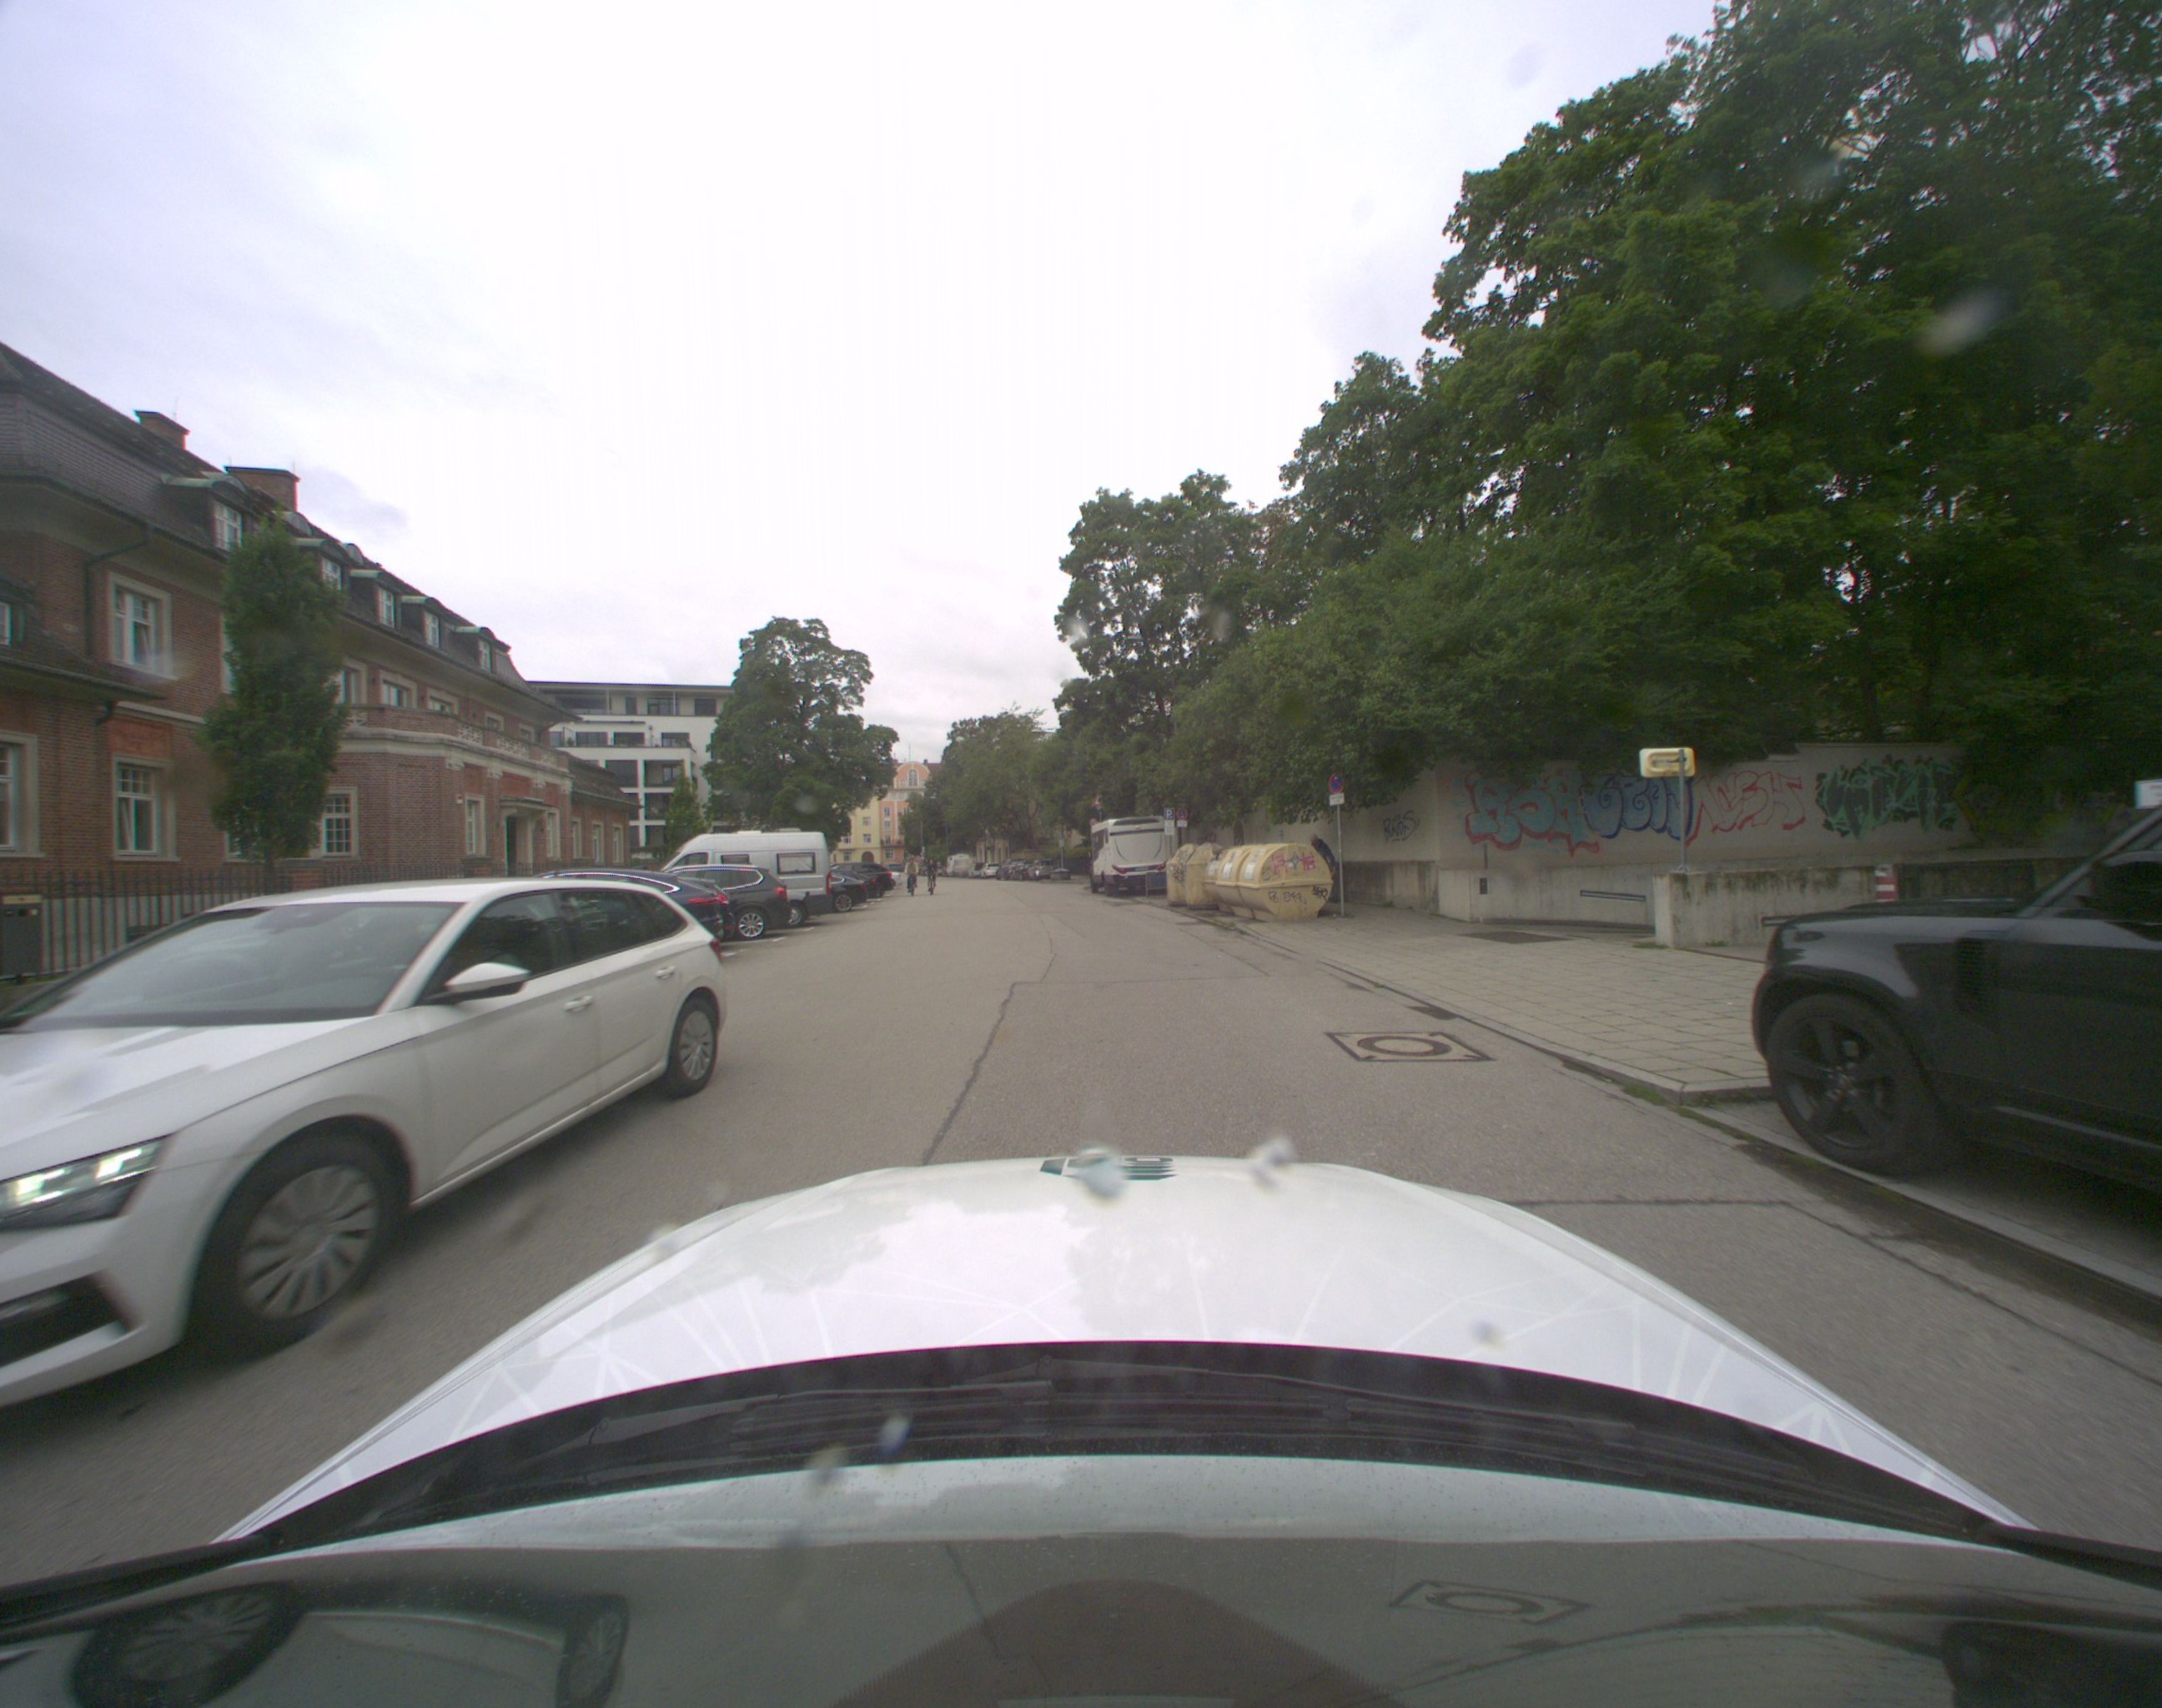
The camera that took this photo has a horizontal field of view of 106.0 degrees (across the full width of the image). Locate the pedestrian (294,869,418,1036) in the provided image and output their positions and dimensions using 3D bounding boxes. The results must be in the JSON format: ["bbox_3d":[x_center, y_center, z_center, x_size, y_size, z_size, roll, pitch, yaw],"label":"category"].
[{"bbox_3d":[-7.666,1.010,8.638,0.588,1.648,0.713,-4,-1,-4],"label":"pedestrian"}]

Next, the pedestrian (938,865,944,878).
[{"bbox_3d":[-20.606,2.574,119.804,0.776,2.014,0.558,-2,-1,-24],"label":"pedestrian"}]

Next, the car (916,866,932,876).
[{"bbox_3d":[-24.062,2.549,124.930,1.676,1.344,3.811,-3,1,-20],"label":"car"}]

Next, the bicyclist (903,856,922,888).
[{"bbox_3d":[-7.682,0.812,37.214,0.696,1.397,0.928,-2,0,-7],"label":"bicyclist"}]

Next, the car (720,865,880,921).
[{"bbox_3d":[-9.186,1.226,26.730,4.547,1.451,1.956,-3,0,-35],"label":"car"}]

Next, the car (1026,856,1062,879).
[{"bbox_3d":[-2.754,0.985,59.545,1.745,1.536,2.926,-4,-1,-20],"label":"car"}]

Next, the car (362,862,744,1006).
[{"bbox_3d":[-7.817,1.083,12.557,4.543,1.593,1.946,-4,0,-31],"label":"car"}]

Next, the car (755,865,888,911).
[{"bbox_3d":[-10.185,1.289,32.110,4.549,1.418,1.906,-4,0,-38],"label":"car"}]

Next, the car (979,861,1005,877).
[{"bbox_3d":[-8.406,1.438,76.905,1.689,1.441,3.976,-3,-1,-17],"label":"car"}]

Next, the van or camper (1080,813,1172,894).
[{"bbox_3d":[1.673,0.006,33.667,2.272,2.906,7.254,-2,0,-9],"label":"van or camper"}]

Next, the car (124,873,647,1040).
[{"bbox_3d":[-7.924,1.098,9.792,4.333,1.530,1.926,-2,-2,-11],"label":"car"}]

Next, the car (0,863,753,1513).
[{"bbox_3d":[-3.314,0.830,3.940,1.767,1.475,4.132,-2,0,-1],"label":"car"}]

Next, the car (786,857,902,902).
[{"bbox_3d":[-10.642,1.125,36.731,4.549,1.665,1.965,-3,-1,-38],"label":"car"}]

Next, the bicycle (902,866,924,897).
[{"bbox_3d":[-7.665,1.237,37.219,0.706,1.305,2.113,-2,0,-6],"label":"bicycle"}]

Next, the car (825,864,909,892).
[{"bbox_3d":[-12.908,1.448,49.284,4.542,1.451,1.874,-3,0,-42],"label":"car"}]

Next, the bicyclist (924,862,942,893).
[{"bbox_3d":[-6.793,1.066,37.416,0.696,1.352,0.928,-2,0,-6],"label":"bicyclist"}]

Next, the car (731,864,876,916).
[{"bbox_3d":[-9.972,1.264,29.454,4.549,1.451,1.799,-4,0,-38],"label":"car"}]

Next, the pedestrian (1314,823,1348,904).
[{"bbox_3d":[6.291,0.243,20.537,0.625,1.985,0.800,-2,0,7],"label":"pedestrian"}]

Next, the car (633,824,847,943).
[{"bbox_3d":[-8.621,0.647,20.692,4.653,2.563,2.212,-3,0,-31],"label":"car"}]

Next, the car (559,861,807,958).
[{"bbox_3d":[-8.536,1.123,17.668,4.543,1.625,1.947,-3,-1,-31],"label":"car"}]

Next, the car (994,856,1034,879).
[{"bbox_3d":[-5.626,1.107,67.789,2.001,1.711,4.851,-4,0,-20],"label":"car"}]

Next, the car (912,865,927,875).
[{"bbox_3d":[-25.763,2.569,129.521,1.676,1.344,3.811,-3,1,-20],"label":"car"}]

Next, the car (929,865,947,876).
[{"bbox_3d":[-19.492,2.282,111.081,1.712,1.408,4.104,-3,0,-19],"label":"car"}]

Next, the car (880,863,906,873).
[{"bbox_3d":[-36.455,2.716,157.592,4.719,1.881,1.828,-2,-1,-20],"label":"car"}]

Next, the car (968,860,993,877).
[{"bbox_3d":[-10.140,1.501,81.713,1.711,1.537,4.215,-4,0,-17],"label":"car"}]

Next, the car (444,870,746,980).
[{"bbox_3d":[-8.654,1.194,14.895,4.437,1.486,1.815,-4,-1,-30],"label":"car"}]

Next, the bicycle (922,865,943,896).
[{"bbox_3d":[-6.801,1.198,37.438,0.705,1.305,2.114,-2,0,-6],"label":"bicycle"}]

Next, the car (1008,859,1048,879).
[{"bbox_3d":[-4.156,1.180,63.412,1.884,1.427,4.193,-4,0,-20],"label":"car"}]

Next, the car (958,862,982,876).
[{"bbox_3d":[-11.914,1.600,87.191,1.712,1.369,4.414,-3,0,-17],"label":"car"}]

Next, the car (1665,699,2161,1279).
[{"bbox_3d":[4.465,0.409,2.287,1.981,1.871,5.077,-2,-1,0],"label":"car"}]

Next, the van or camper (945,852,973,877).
[{"bbox_3d":[-14.077,1.224,93.672,2.199,2.550,5.692,-4,0,-18],"label":"van or camper"}]
